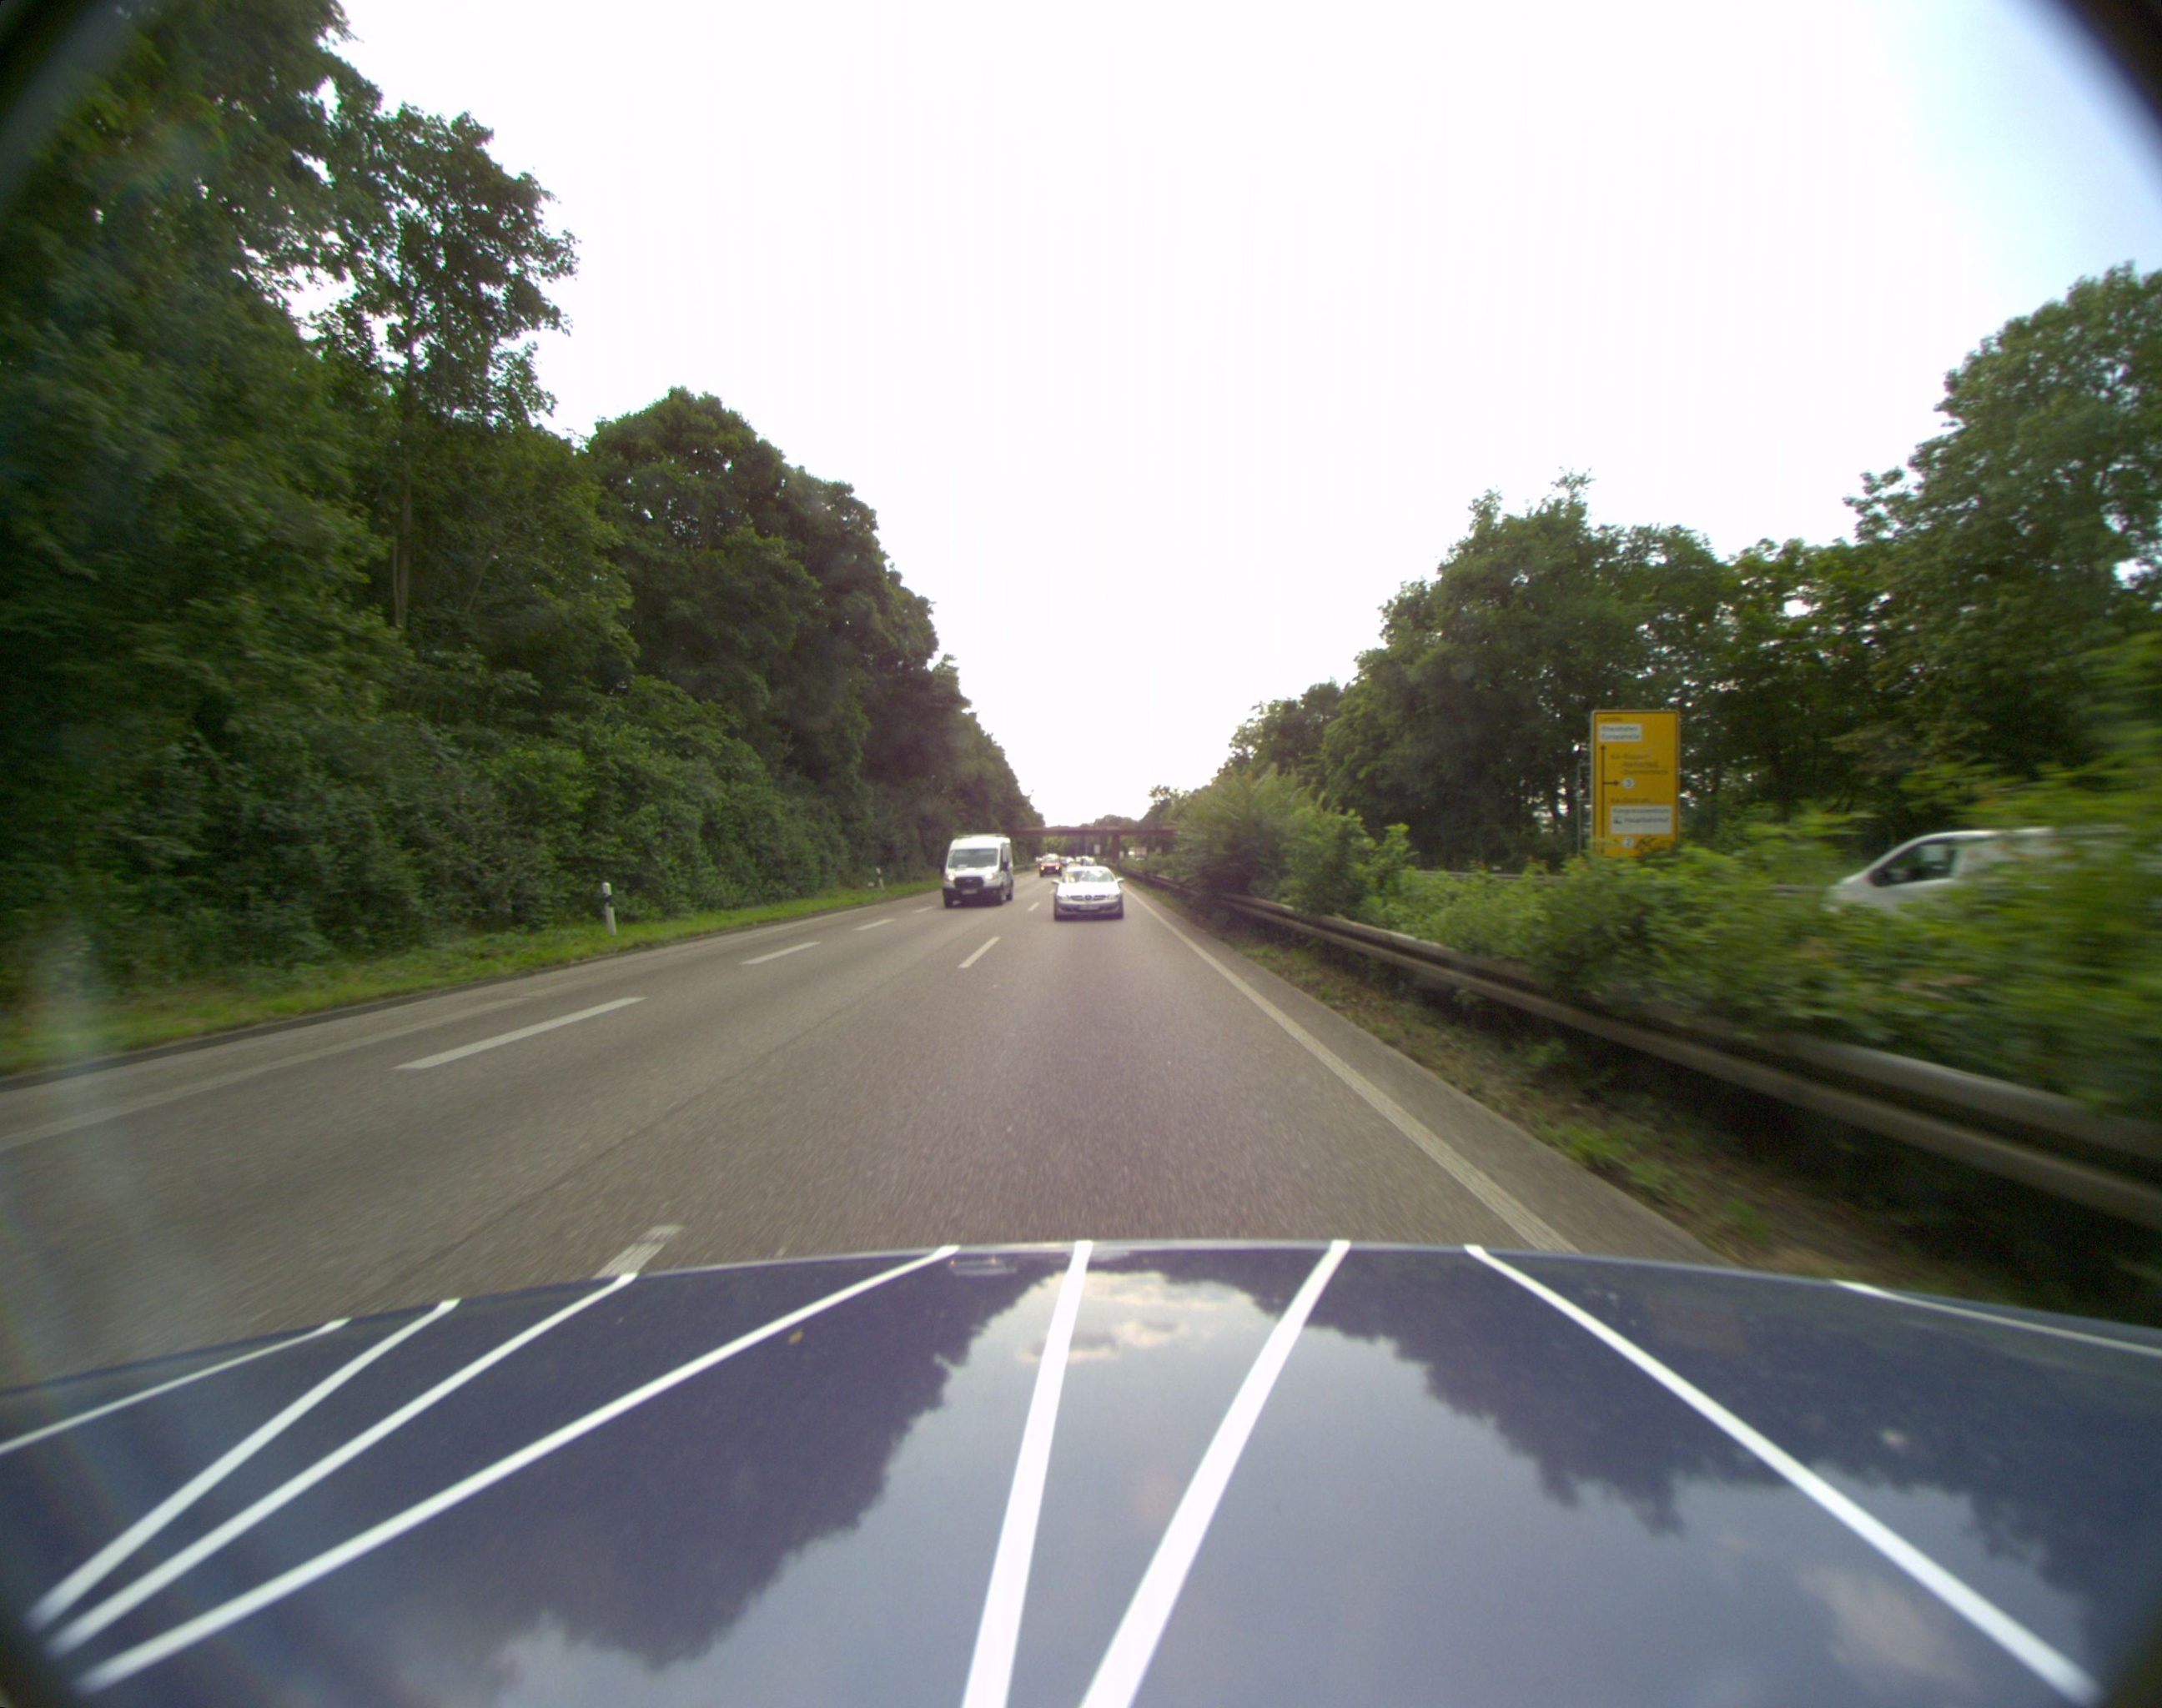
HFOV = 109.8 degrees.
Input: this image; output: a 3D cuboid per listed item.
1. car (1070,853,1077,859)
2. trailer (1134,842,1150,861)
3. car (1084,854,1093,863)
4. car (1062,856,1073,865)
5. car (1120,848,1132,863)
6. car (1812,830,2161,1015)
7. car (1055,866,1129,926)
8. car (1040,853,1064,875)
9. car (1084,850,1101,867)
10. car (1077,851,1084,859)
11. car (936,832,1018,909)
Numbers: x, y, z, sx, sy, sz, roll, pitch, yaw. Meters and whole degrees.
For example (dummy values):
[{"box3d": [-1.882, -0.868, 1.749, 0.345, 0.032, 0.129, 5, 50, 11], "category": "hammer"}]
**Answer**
[{"box3d": [-2.283, 0.635, 236.579, 1.998, 2.002, 4.000, -1, 0, 1], "category": "car"}, {"box3d": [13.359, -0.627, 167.771, 3.067, 4.018, 9.975, -1, 0, 2], "category": "trailer"}, {"box3d": [1.285, 0.764, 130.260, 1.472, 1.560, 3.295, 0, 0, 1], "category": "car"}, {"box3d": [-2.330, 1.052, 132.022, 1.889, 1.516, 4.000, -1, 0, 1], "category": "car"}, {"box3d": [10.089, 0.373, 169.919, 2.294, 3.214, 7.286, 0, 0, 1], "category": "car"}, {"box3d": [12.260, 0.701, 8.959, 1.998, 1.917, 5.535, -1, 0, 1], "category": "car"}, {"box3d": [0.283, 1.070, 21.043, 1.751, 1.295, 5.223, -2, 0, 0], "category": "car"}, {"box3d": [-2.563, 0.854, 68.021, 1.908, 1.795, 4.395, -2, 0, 1], "category": "car"}, {"box3d": [1.454, 0.572, 94.240, 1.998, 2.002, 4.000, -1, 0, 1], "category": "car"}, {"box3d": [-0.229, 0.341, 203.301, 1.724, 2.002, 4.000, -1, 0, 2], "category": "car"}, {"box3d": [-3.666, 0.541, 27.768, 2.104, 2.493, 5.279, -2, 0, 1], "category": "car"}]
